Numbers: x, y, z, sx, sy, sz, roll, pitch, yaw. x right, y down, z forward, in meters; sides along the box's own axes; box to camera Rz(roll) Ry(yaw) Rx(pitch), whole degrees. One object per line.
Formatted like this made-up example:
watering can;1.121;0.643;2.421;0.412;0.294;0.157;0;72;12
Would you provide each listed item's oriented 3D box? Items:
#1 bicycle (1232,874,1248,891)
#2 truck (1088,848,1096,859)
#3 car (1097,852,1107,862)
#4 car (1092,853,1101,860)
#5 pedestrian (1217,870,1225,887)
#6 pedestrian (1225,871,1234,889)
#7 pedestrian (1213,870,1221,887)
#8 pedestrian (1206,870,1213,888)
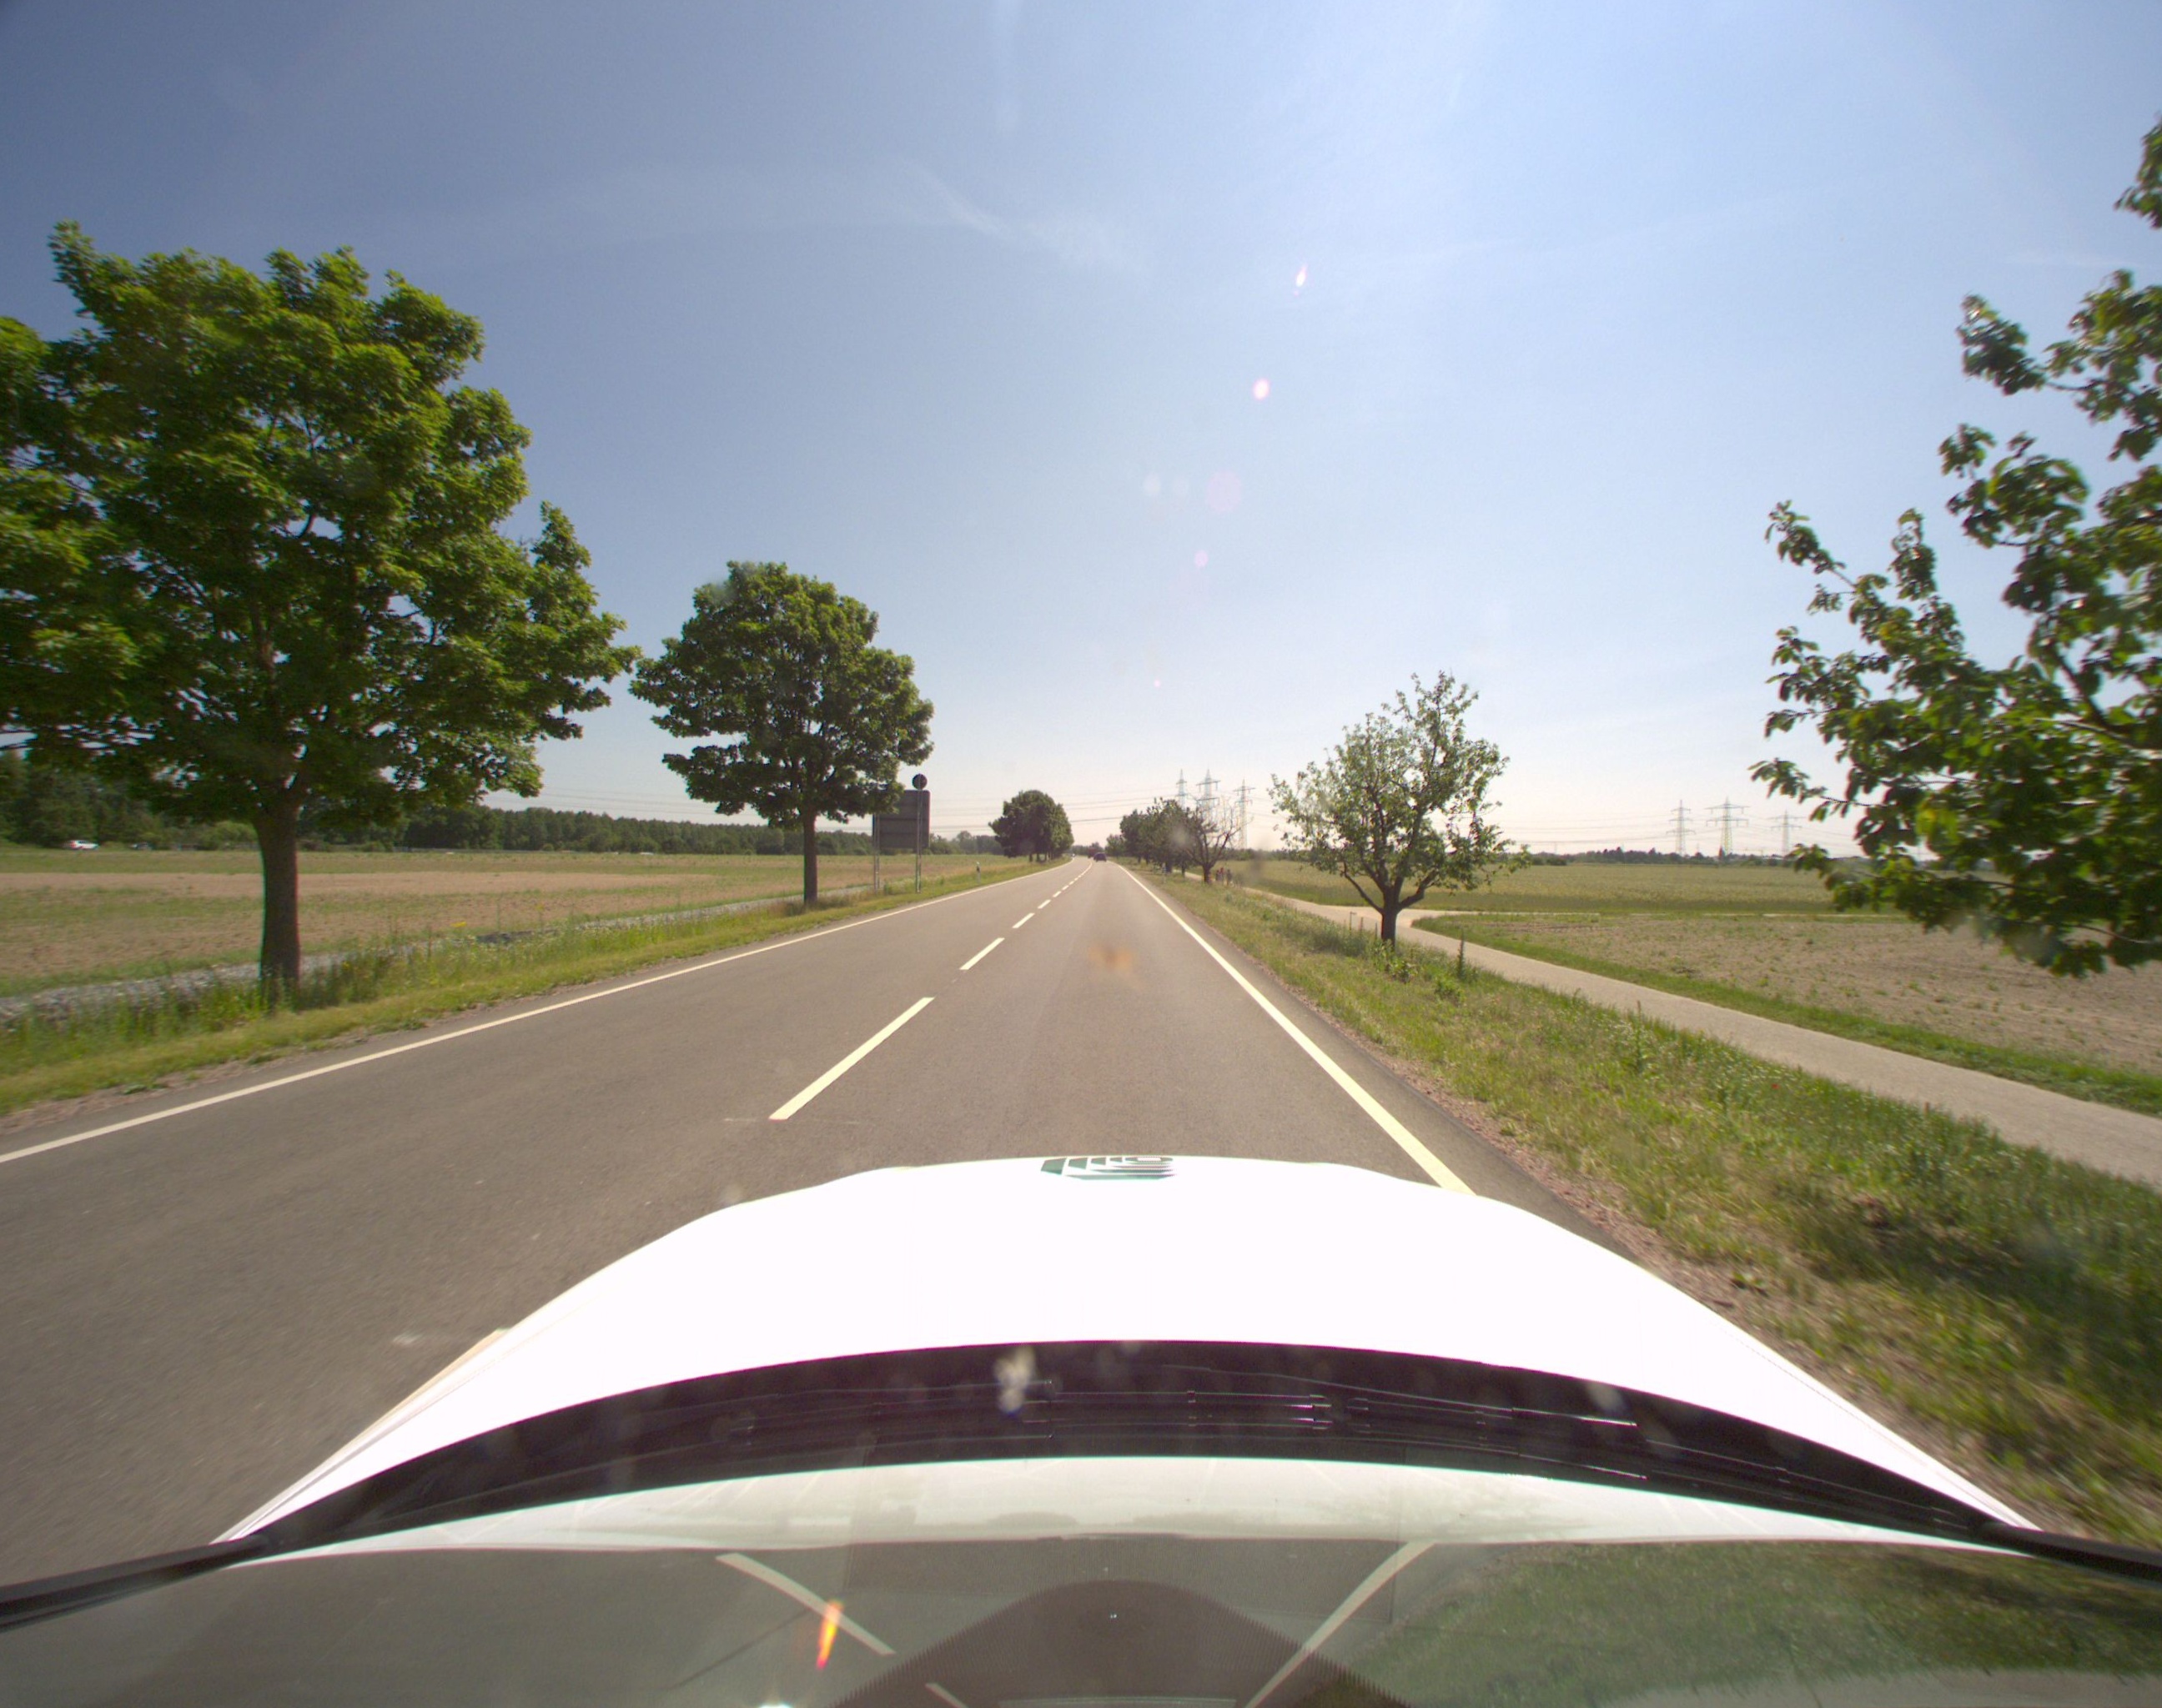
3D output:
bicycle;11.298;2.003;57.801;0.476;1.165;1.675;1;0;-13
truck;3.426;-0.163;256.076;2.364;3.140;8.743;1;0;-1
car;3.776;0.521;148.916;1.709;1.694;3.989;0;0;1
car;3.598;0.642;188.856;1.846;1.523;3.996;0;0;-3
pedestrian;10.656;1.860;61.972;0.481;1.314;0.445;0;0;44
pedestrian;11.099;1.926;60.962;0.444;1.295;0.481;0;0;-43
pedestrian;10.285;1.870;61.553;0.481;1.295;0.445;0;0;34
pedestrian;9.598;1.853;60.919;0.440;1.295;0.486;0;0;-6
